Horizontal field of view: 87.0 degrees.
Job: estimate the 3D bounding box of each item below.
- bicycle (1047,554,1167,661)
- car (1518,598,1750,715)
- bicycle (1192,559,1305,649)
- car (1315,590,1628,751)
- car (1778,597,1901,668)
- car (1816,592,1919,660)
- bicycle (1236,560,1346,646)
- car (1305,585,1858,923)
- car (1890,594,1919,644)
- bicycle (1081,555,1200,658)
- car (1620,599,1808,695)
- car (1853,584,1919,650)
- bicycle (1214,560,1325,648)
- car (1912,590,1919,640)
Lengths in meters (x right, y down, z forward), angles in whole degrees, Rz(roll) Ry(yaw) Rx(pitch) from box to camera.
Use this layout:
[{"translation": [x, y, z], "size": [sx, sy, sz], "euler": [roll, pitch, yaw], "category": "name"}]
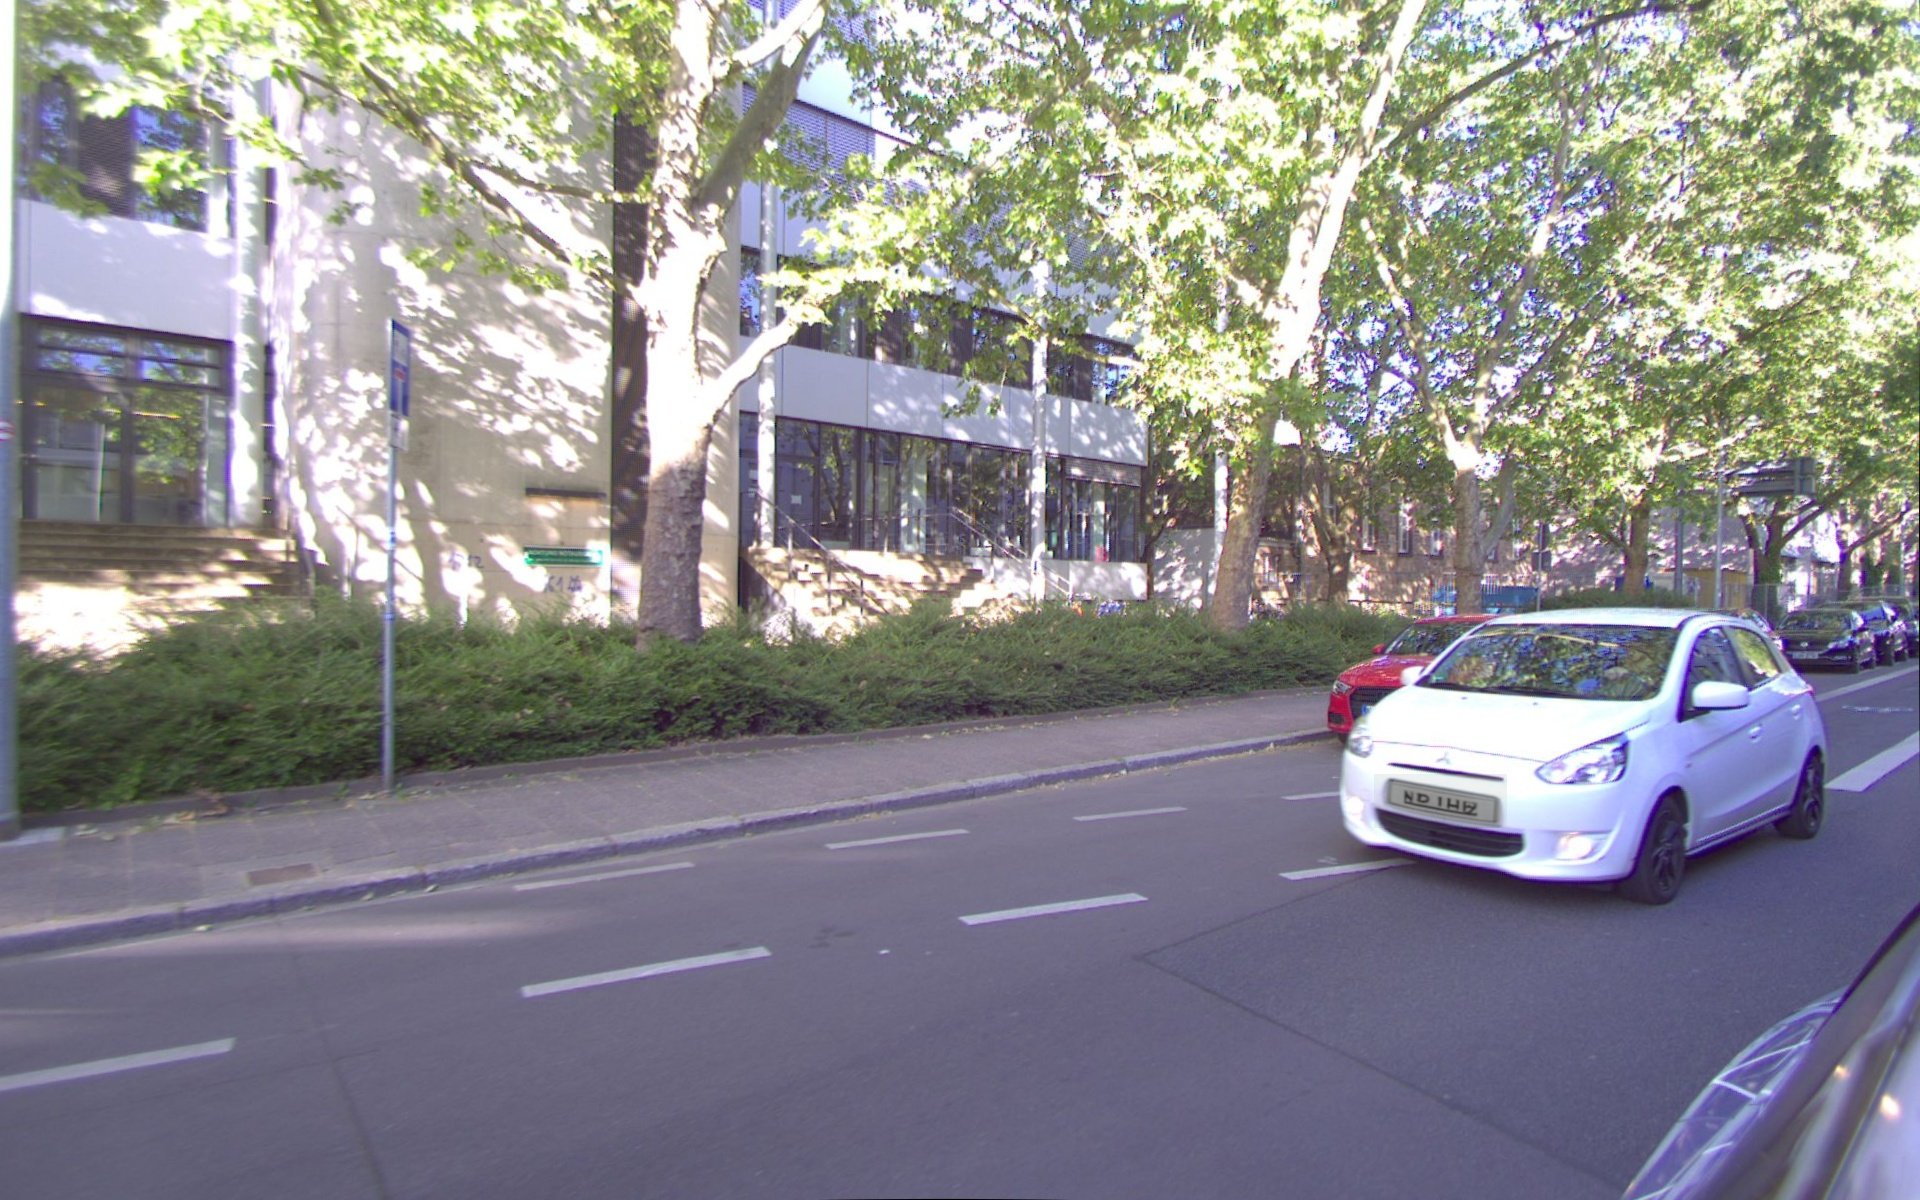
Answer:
[{"translation": [2.943, 0.118, 20.574], "size": [0.729, 2.039, 2.603], "euler": [1, 1, -39], "category": "bicycle"}, {"translation": [9.921, 0.728, 14.795], "size": [3.992, 1.485, 1.696], "euler": [0, -1, -39], "category": "car"}, {"translation": [6.804, 0.071, 24.032], "size": [0.729, 2.039, 2.603], "euler": [1, 1, -39], "category": "bicycle"}, {"translation": [5.870, 0.662, 11.363], "size": [4.360, 1.468, 1.694], "euler": [0, -1, -42], "category": "car"}, {"translation": [20.439, 0.708, 23.473], "size": [3.951, 1.523, 1.694], "euler": [0, -1, -42], "category": "car"}, {"translation": [24.289, 0.648, 26.830], "size": [4.540, 1.649, 1.778], "euler": [0, -1, -42], "category": "car"}, {"translation": [8.196, 0.053, 25.169], "size": [0.729, 2.039, 2.603], "euler": [1, 1, -39], "category": "bicycle"}, {"translation": [3.986, 0.684, 6.320], "size": [3.616, 1.517, 1.684], "euler": [-1, 0, -36], "category": "car"}, {"translation": [33.542, 0.620, 34.948], "size": [4.256, 1.649, 1.694], "euler": [0, -2, -42], "category": "car"}, {"translation": [3.769, 0.108, 21.374], "size": [0.729, 2.039, 2.603], "euler": [1, 1, -39], "category": "bicycle"}, {"translation": [13.286, 0.749, 17.750], "size": [4.242, 1.498, 1.696], "euler": [0, -1, -40], "category": "car"}, {"translation": [28.373, 0.496, 30.726], "size": [1.823, 1.865, 4.825], "euler": [-2, -1, 41], "category": "car"}, {"translation": [7.481, 0.062, 24.600], "size": [0.729, 2.039, 2.603], "euler": [1, 1, -39], "category": "bicycle"}, {"translation": [36.999, 0.539, 37.664], "size": [4.055, 1.836, 1.696], "euler": [0, -1, -39], "category": "car"}]
